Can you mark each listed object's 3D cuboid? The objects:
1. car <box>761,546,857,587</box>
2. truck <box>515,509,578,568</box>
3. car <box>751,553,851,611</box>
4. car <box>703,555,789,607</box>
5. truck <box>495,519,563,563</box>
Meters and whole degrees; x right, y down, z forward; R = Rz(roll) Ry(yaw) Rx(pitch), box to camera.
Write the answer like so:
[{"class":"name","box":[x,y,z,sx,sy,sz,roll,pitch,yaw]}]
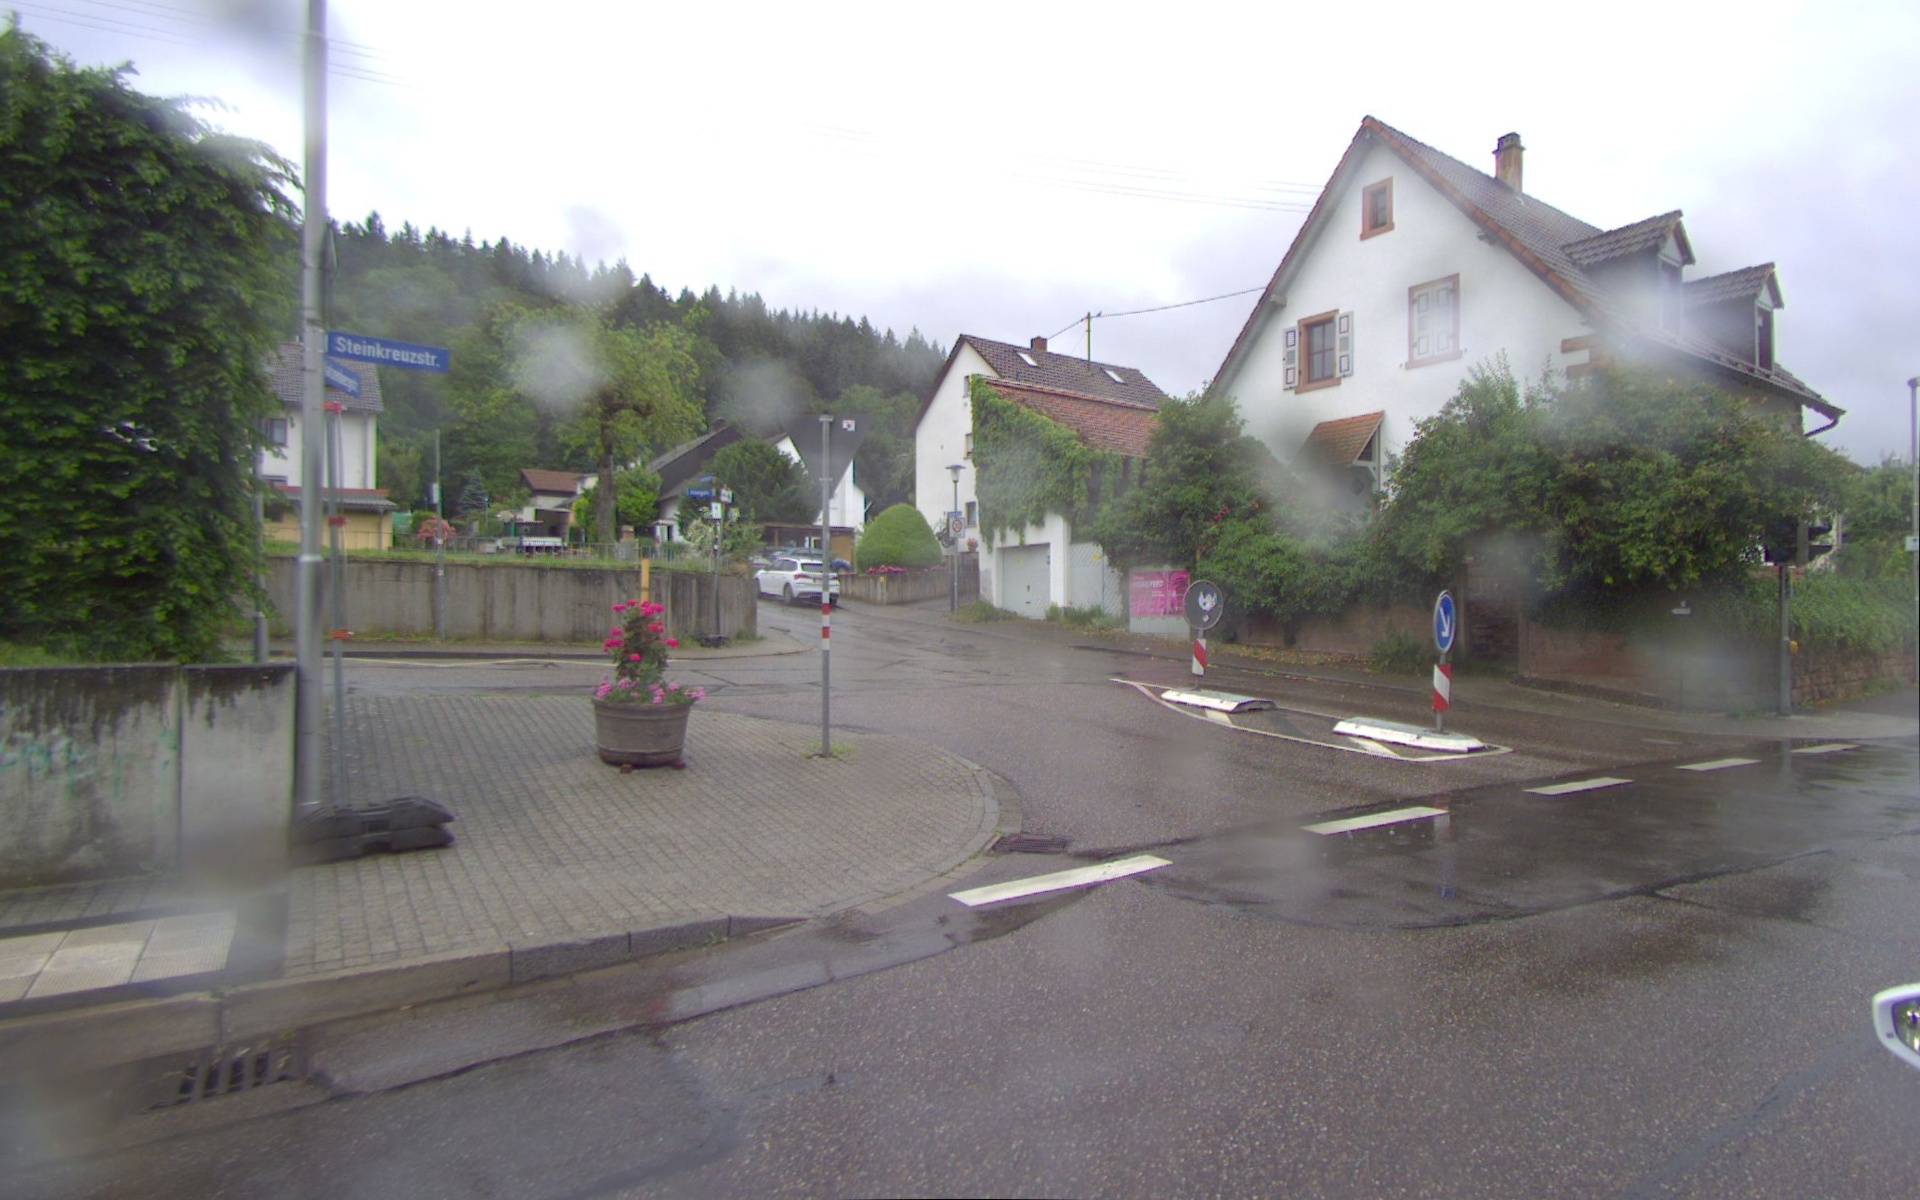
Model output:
[{"class":"car","box":[-6.935,-1.540,46.194,3.852,1.534,1.882,2,6,-35]},{"class":"truck","box":[-26.006,-3.800,63.068,2.427,3.397,6.596,1,2,-33]},{"class":"car","box":[-5.454,-0.637,34.078,1.880,1.534,3.855,2,6,-33]},{"class":"car","box":[-8.150,-0.755,38.043,1.880,1.534,3.855,2,6,-33]},{"class":"truck","box":[-23.281,-3.136,54.091,2.277,2.155,6.021,1,2,-34]}]
